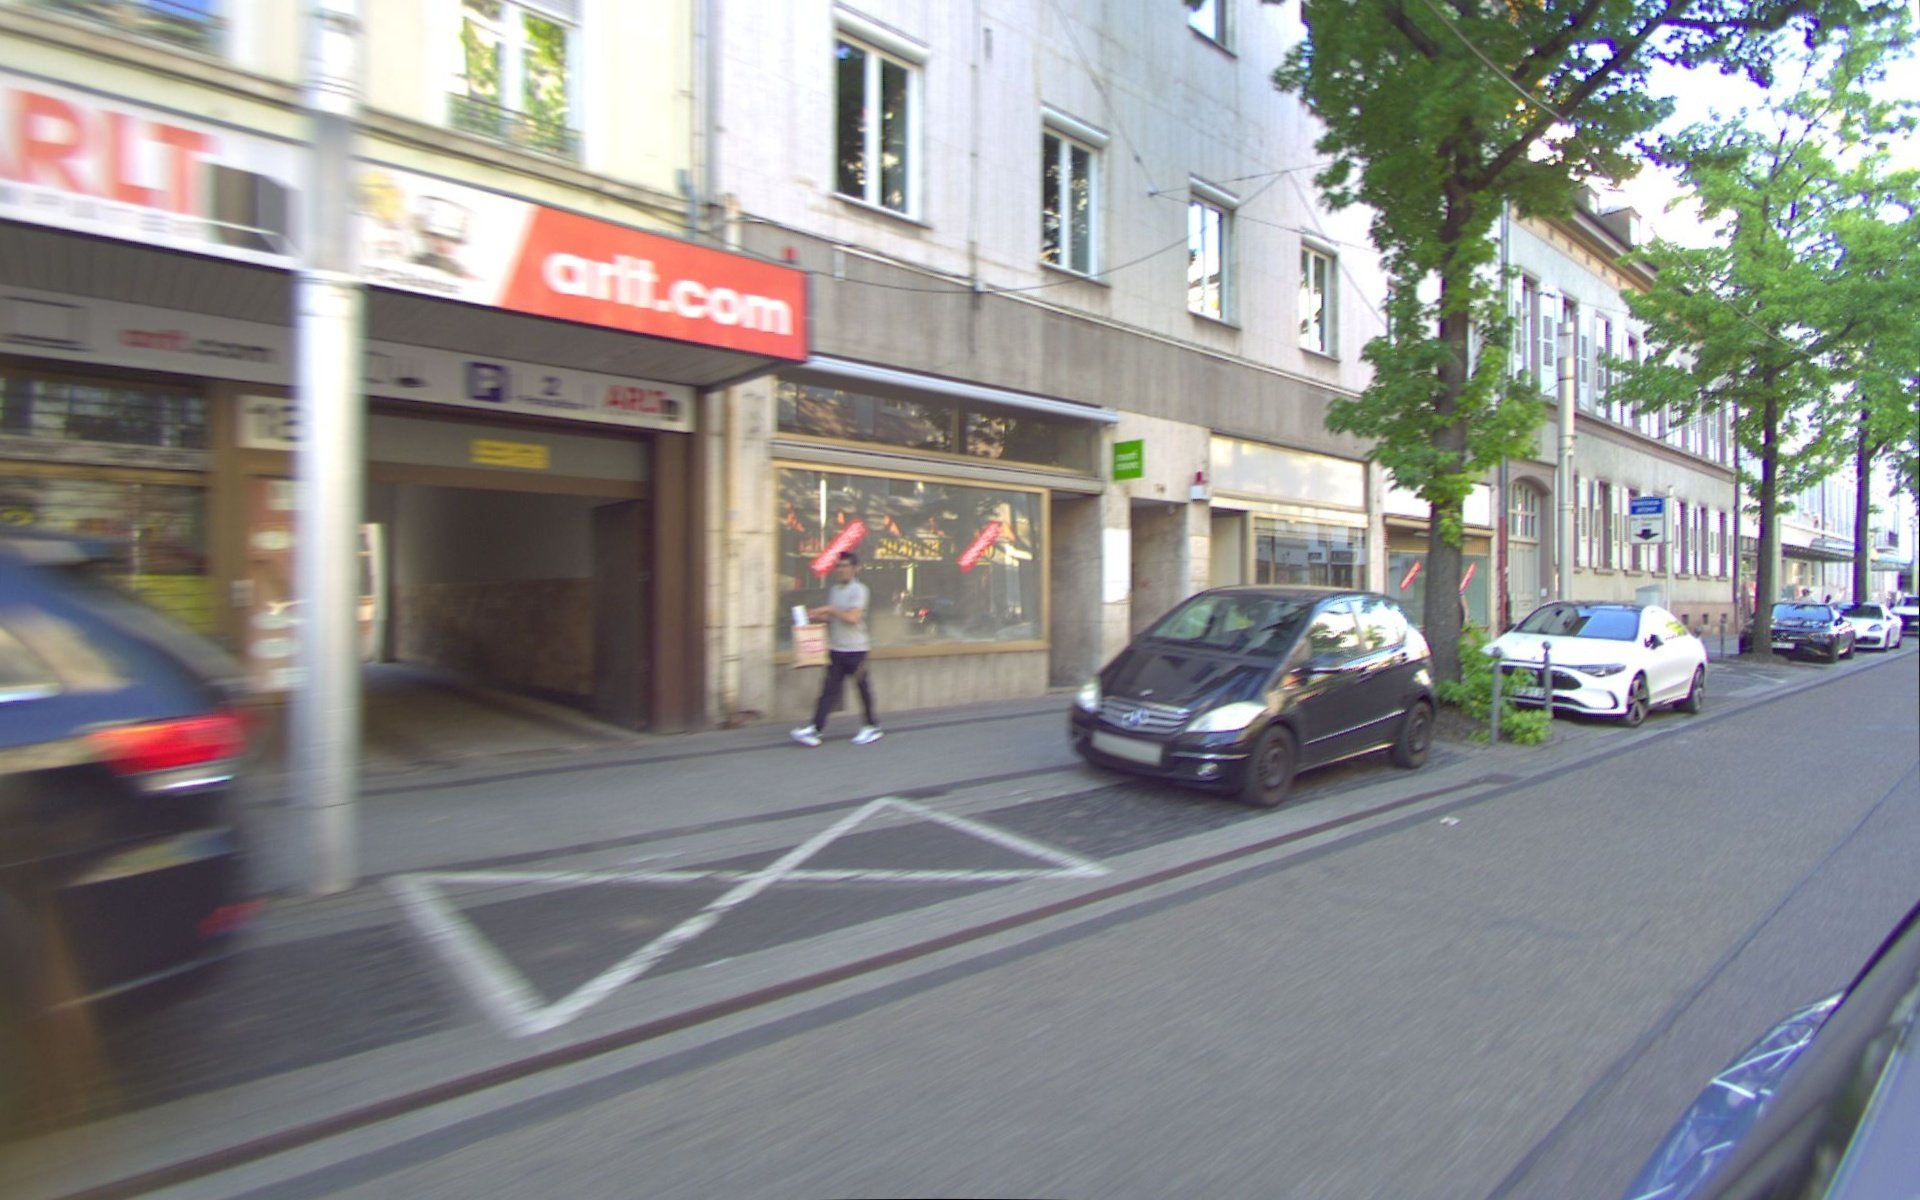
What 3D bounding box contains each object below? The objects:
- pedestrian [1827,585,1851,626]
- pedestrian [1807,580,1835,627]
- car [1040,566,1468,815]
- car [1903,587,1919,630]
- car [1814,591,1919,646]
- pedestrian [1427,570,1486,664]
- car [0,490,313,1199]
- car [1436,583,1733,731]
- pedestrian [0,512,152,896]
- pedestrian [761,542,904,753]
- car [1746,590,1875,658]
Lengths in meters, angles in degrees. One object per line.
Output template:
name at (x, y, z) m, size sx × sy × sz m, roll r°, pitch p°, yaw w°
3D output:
pedestrian at (34.846, 0.205, 40.120) m, size 0.785 × 1.593 × 0.650 m, roll 0°, pitch 0°, yaw -41°
pedestrian at (35.941, 0.135, 42.228) m, size 1.034 × 1.910 × 0.714 m, roll 0°, pitch 1°, yaw -41°
car at (2.681, 0.588, 8.811) m, size 3.825 × 1.610 × 1.780 m, roll 0°, pitch 4°, yaw -42°
car at (41.114, 0.366, 42.478) m, size 4.887 × 1.708 × 1.999 m, roll -1°, pitch 3°, yaw -45°
car at (27.630, 0.511, 30.668) m, size 4.802 × 1.438 × 1.916 m, roll 0°, pitch 3°, yaw -41°
pedestrian at (9.221, 0.302, 18.797) m, size 0.873 × 1.685 × 0.659 m, roll 0°, pitch 2°, yaw -42°
car at (-4.171, 0.564, 2.030) m, size 4.599 × 1.780 × 1.942 m, roll 0°, pitch 4°, yaw -42°
car at (8.366, 0.617, 13.390) m, size 4.597 × 1.516 × 1.998 m, roll 0°, pitch 3°, yaw -41°
pedestrian at (-4.319, 0.441, 4.763) m, size 0.772 × 1.690 × 0.644 m, roll 0°, pitch 3°, yaw -41°
pedestrian at (-1.166, 0.390, 9.206) m, size 0.916 × 1.774 × 0.860 m, roll 0°, pitch 3°, yaw -41°
car at (21.403, 0.531, 25.401) m, size 4.680 × 1.496 × 1.836 m, roll 0°, pitch 3°, yaw -42°
